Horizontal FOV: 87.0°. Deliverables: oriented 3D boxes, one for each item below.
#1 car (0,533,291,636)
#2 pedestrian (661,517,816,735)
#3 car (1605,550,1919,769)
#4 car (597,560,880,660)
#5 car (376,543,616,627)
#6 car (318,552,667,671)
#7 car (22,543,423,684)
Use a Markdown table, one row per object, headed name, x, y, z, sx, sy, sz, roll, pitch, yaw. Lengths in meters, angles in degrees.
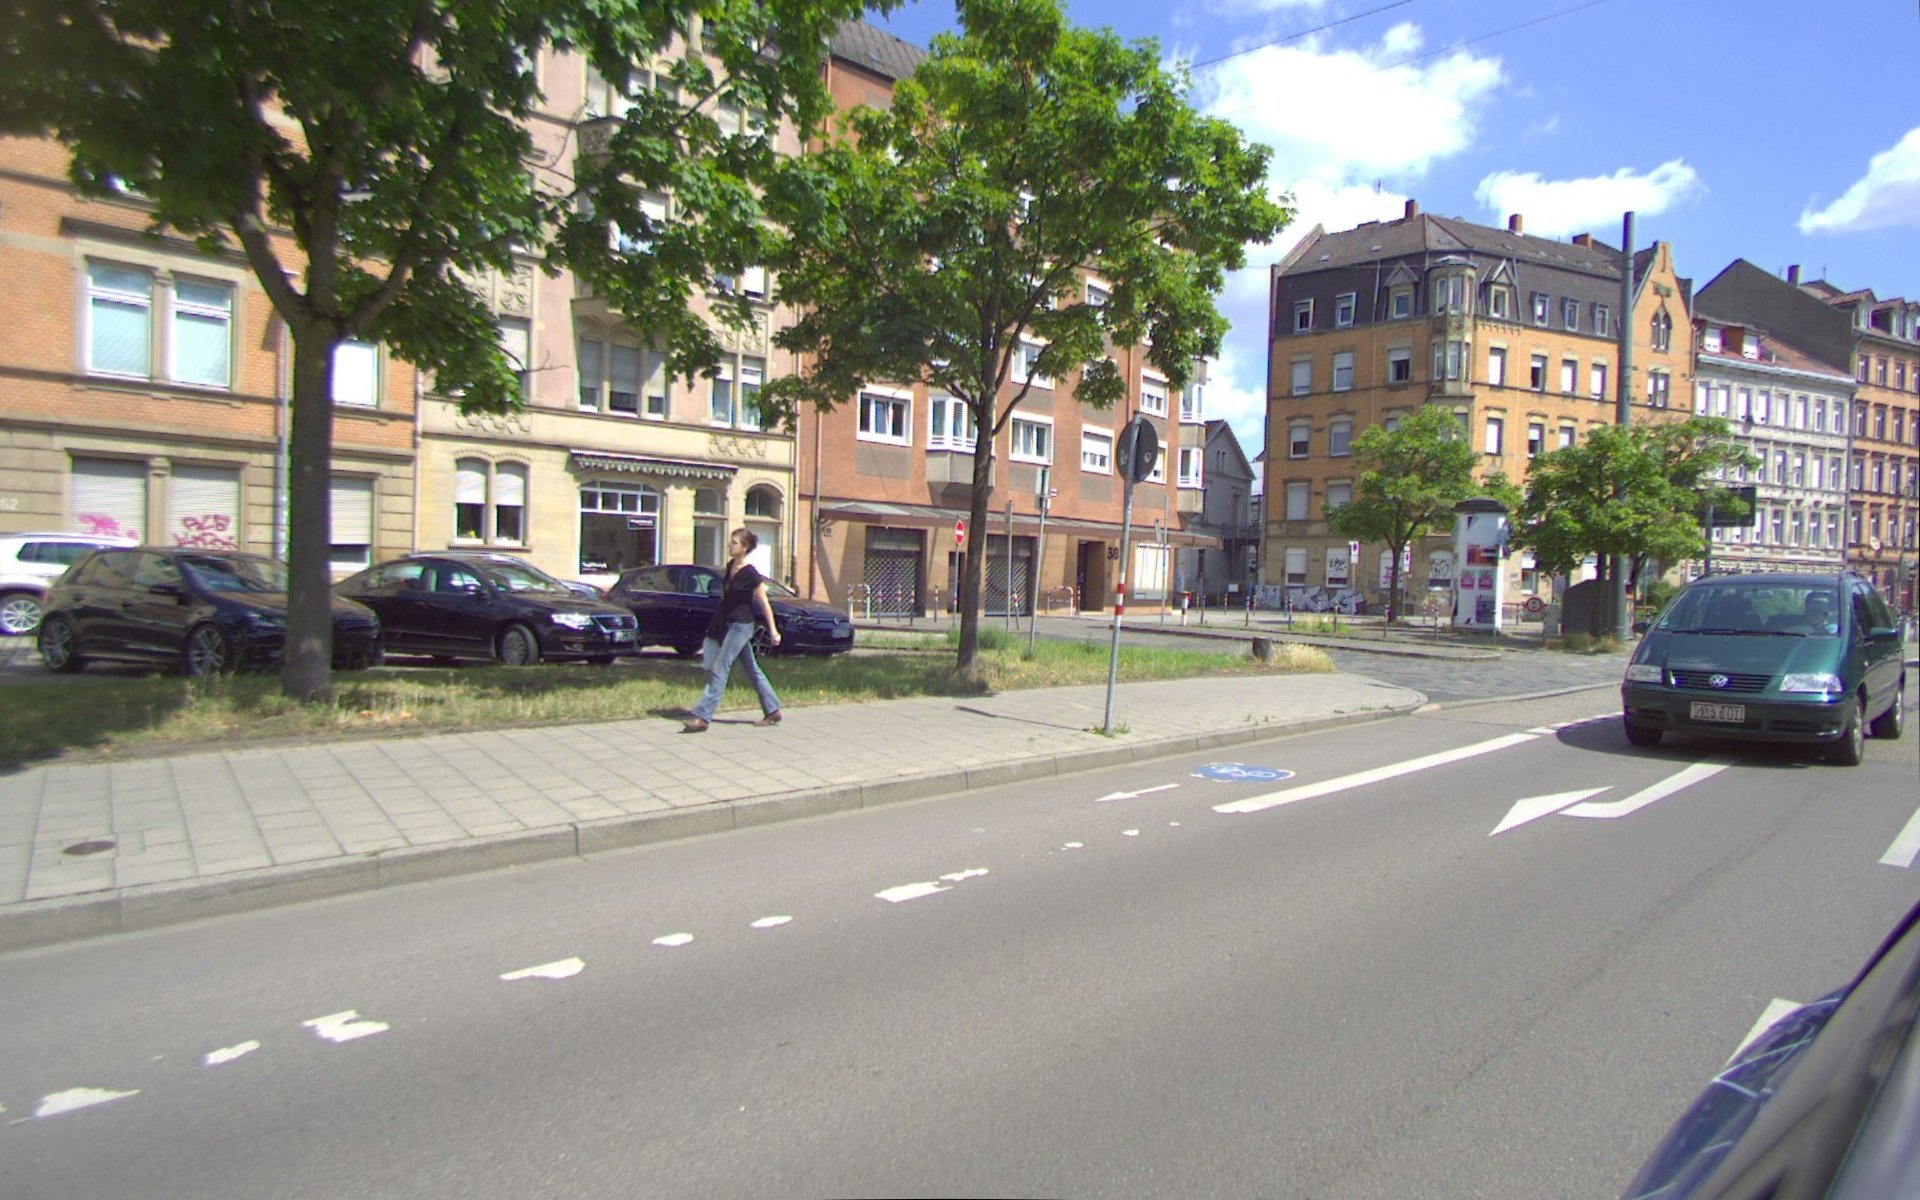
| name | x | y | z | sx | sy | sz | roll | pitch | yaw |
| --- | --- | --- | --- | --- | --- | --- | --- | --- | --- |
| car | -14.527 | -0.277 | 17.815 | 4.417 | 1.635 | 1.835 | -1 | 1 | -41 |
| pedestrian | -1.885 | 0.189 | 8.637 | 1.027 | 1.724 | 0.701 | 0 | 4 | -42 |
| car | 8.614 | 0.434 | 10.517 | 4.942 | 1.778 | 1.822 | -1 | 1 | -40 |
| car | -3.419 | 0.102 | 15.588 | 3.961 | 1.371 | 1.944 | 1 | 1 | 27 |
| car | -9.919 | -0.335 | 21.813 | 4.414 | 1.635 | 1.837 | -1 | 1 | -38 |
| car | -6.144 | 0.105 | 13.445 | 3.944 | 1.397 | 1.952 | 0 | 1 | 17 |
| car | -8.461 | 0.100 | 11.655 | 3.952 | 1.397 | 1.948 | 0 | 1 | 21 |
